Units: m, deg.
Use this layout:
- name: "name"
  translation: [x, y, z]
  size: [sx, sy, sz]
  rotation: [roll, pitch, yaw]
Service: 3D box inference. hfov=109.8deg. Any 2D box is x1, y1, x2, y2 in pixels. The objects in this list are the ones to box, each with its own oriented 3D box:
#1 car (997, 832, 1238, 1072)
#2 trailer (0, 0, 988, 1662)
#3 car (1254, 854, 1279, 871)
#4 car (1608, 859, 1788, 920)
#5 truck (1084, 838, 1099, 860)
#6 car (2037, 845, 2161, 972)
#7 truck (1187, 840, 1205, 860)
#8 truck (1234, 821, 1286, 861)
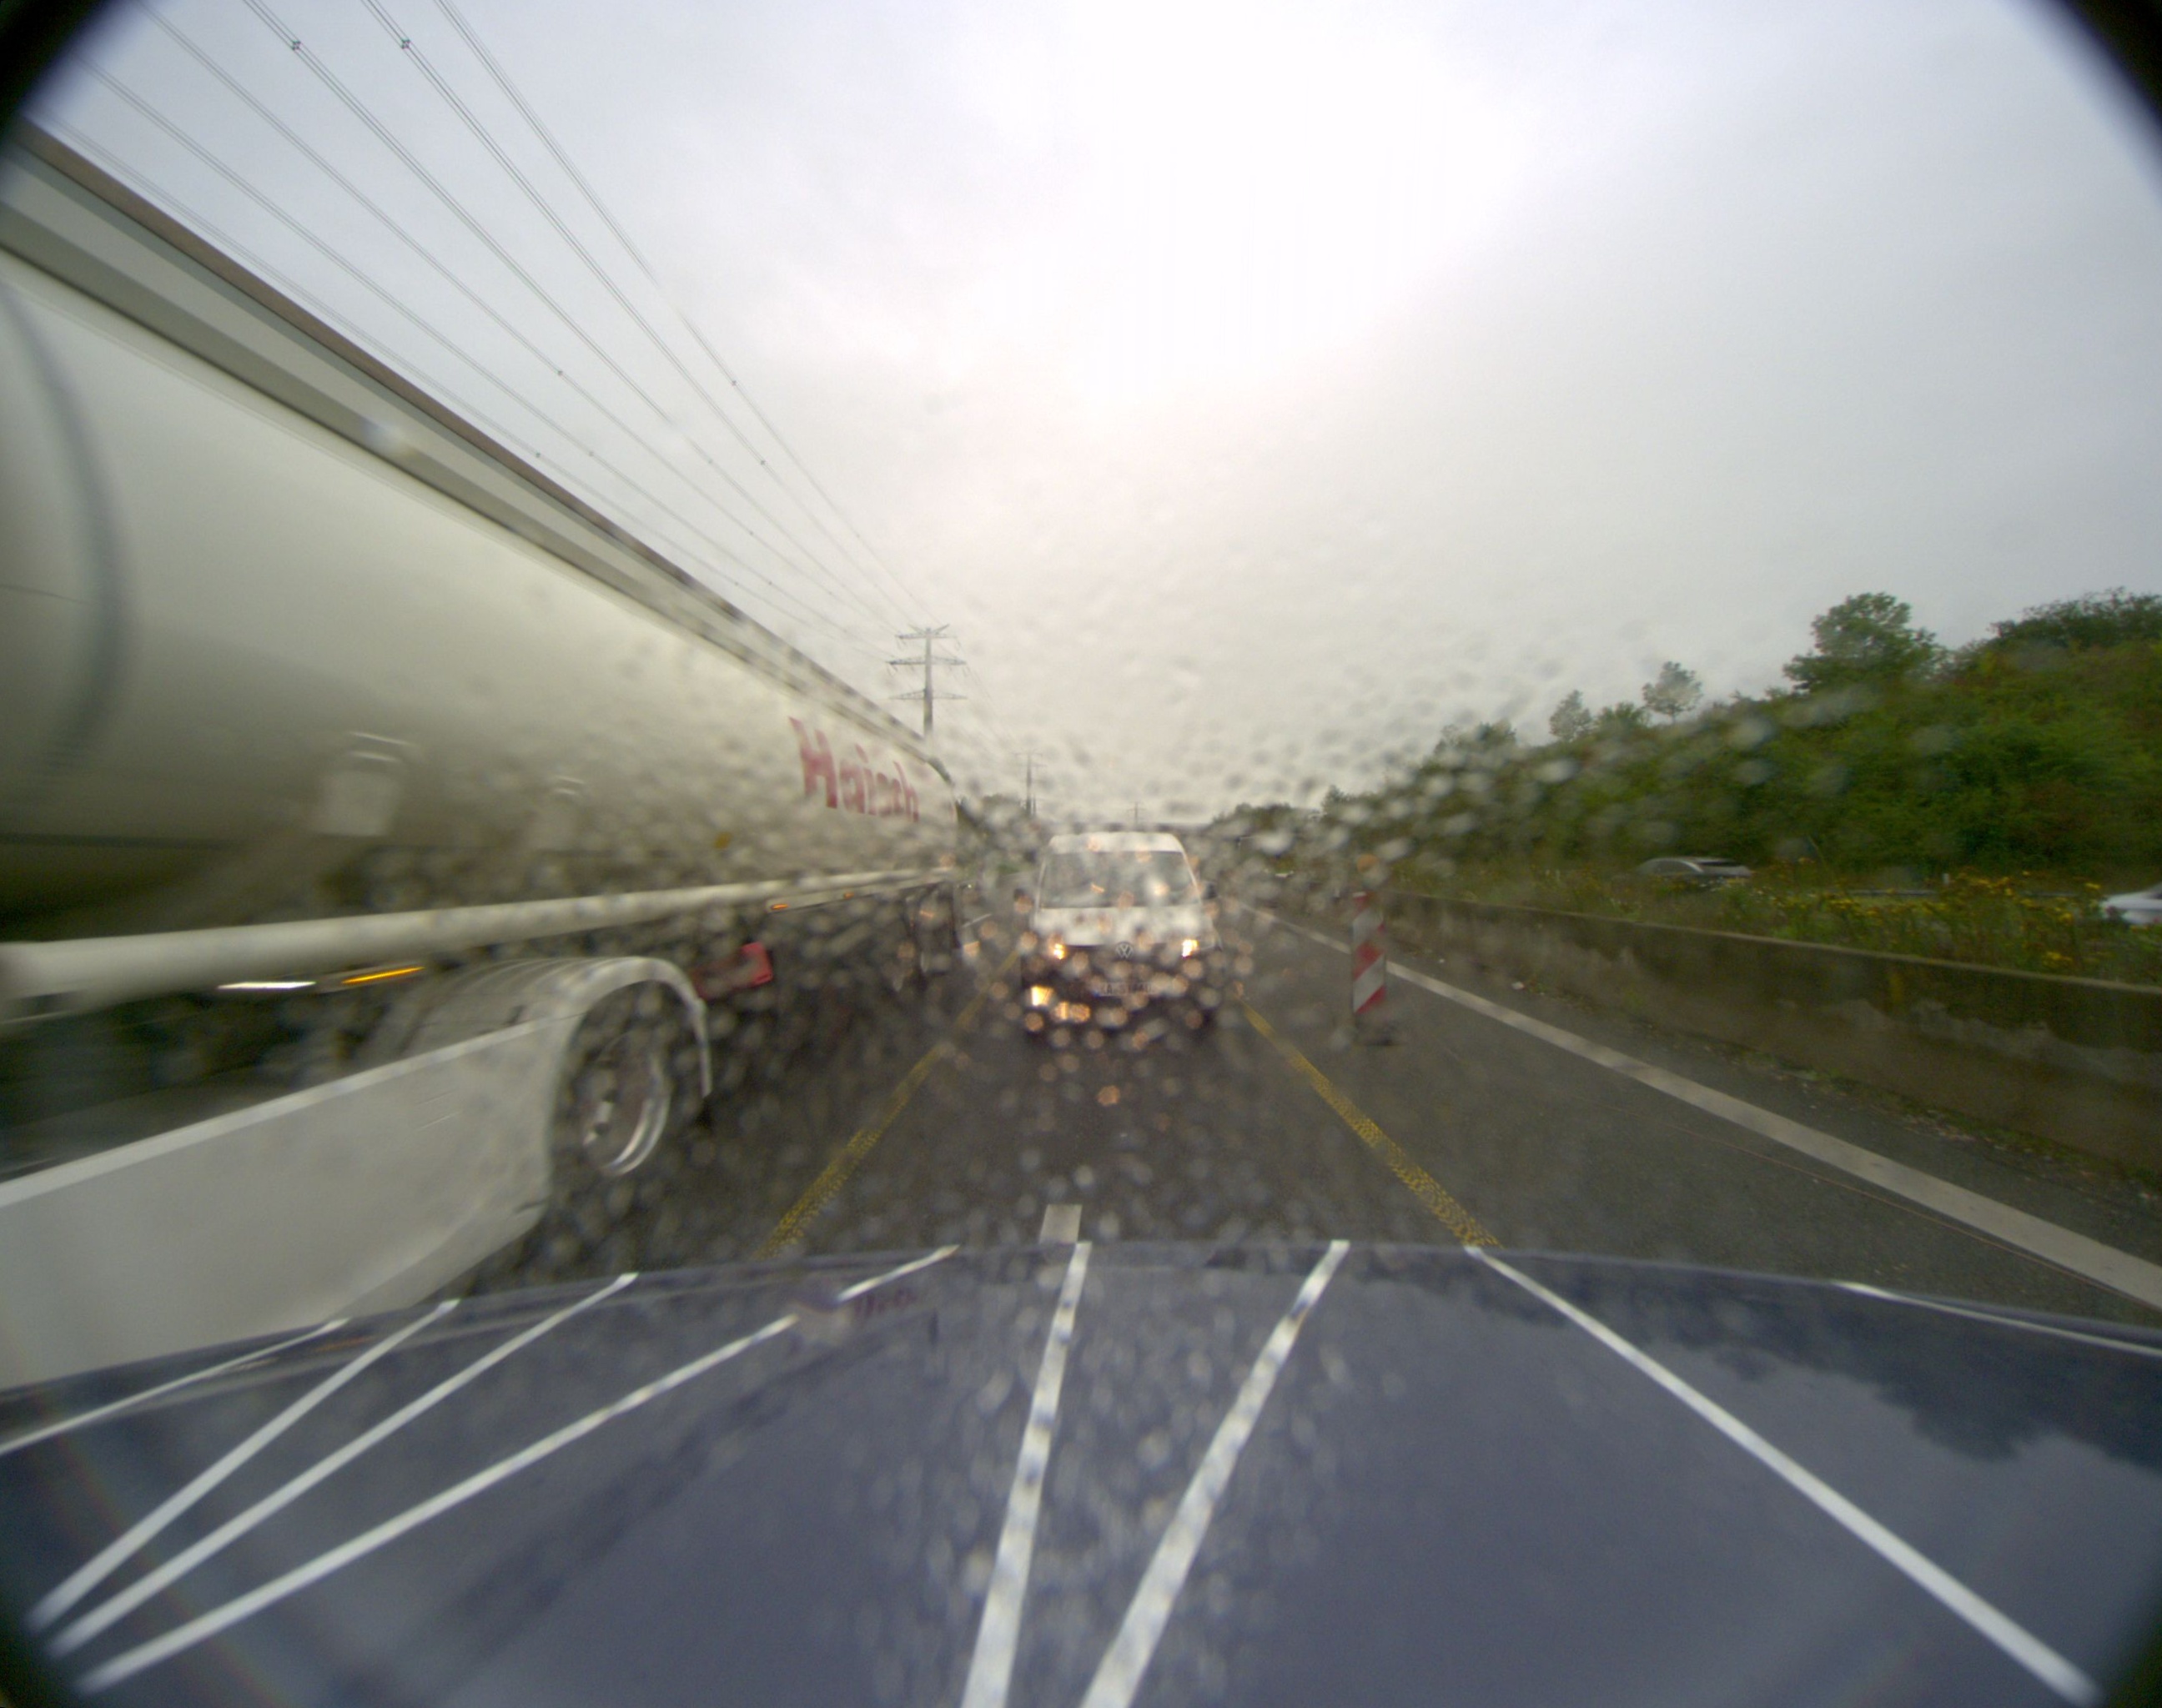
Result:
- name: "car"
  translation: [0.299, 0.747, 8.125]
  size: [1.770, 1.774, 4.647]
  rotation: [-2, 0, 0]
- name: "trailer"
  translation: [-2.951, -0.179, 6.928]
  size: [2.644, 3.871, 10.542]
  rotation: [-2, 1, 1]
- name: "car"
  translation: [17.107, 0.790, 70.187]
  size: [1.682, 1.518, 3.753]
  rotation: [0, 0, 4]
- name: "car"
  translation: [18.415, 0.990, 22.987]
  size: [1.998, 1.652, 4.296]
  rotation: [0, 0, 1]
- name: "truck"
  translation: [1.973, -1.025, 141.287]
  size: [2.553, 3.924, 4.000]
  rotation: [-2, 1, 2]
- name: "car"
  translation: [13.949, 0.651, 7.979]
  size: [1.873, 1.534, 4.747]
  rotation: [0, 0, 0]
- name: "truck"
  translation: [26.263, -0.971, 173.651]
  size: [2.681, 4.221, 12.517]
  rotation: [-2, 1, 3]
- name: "truck"
  translation: [22.350, -1.589, 96.154]
  size: [3.414, 4.498, 17.288]
  rotation: [-1, 1, 3]
